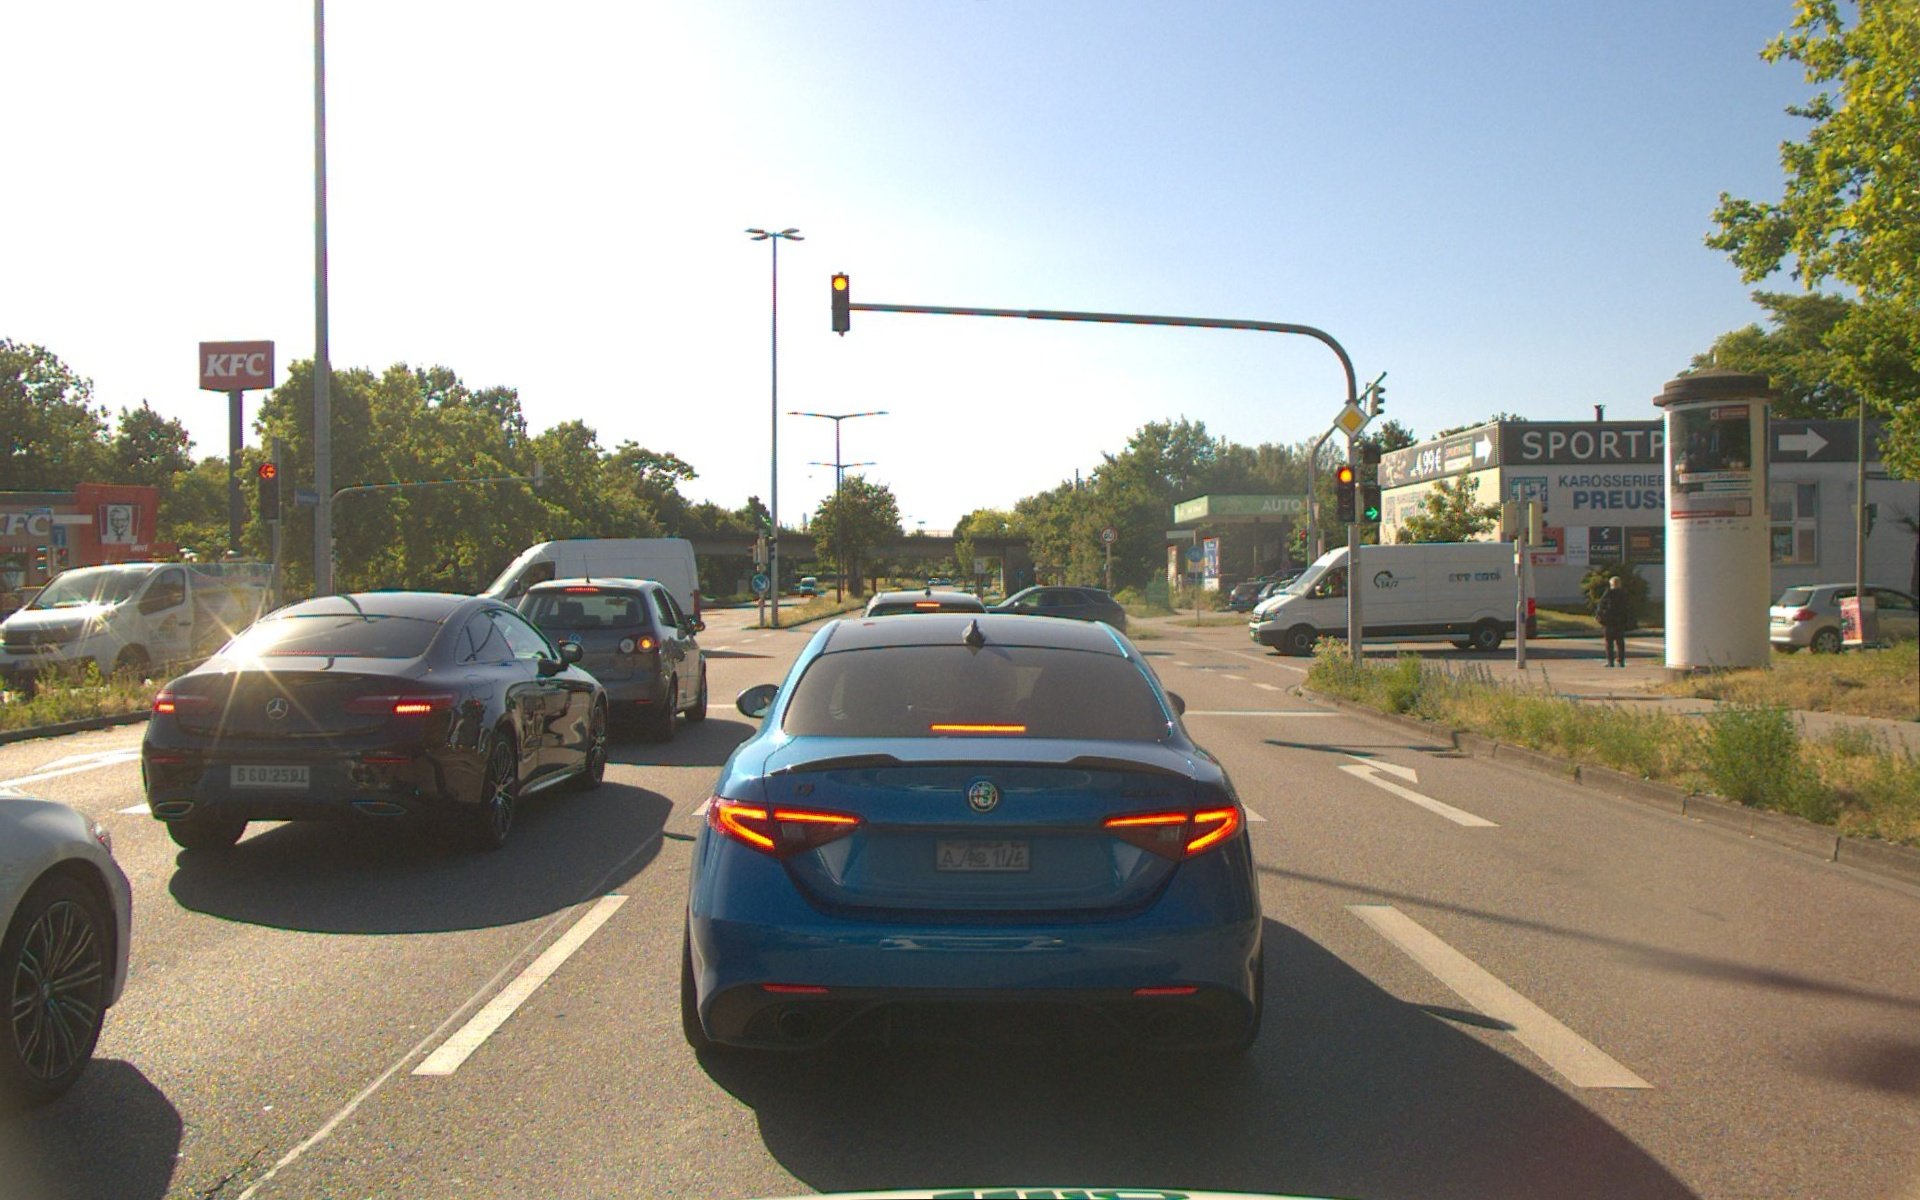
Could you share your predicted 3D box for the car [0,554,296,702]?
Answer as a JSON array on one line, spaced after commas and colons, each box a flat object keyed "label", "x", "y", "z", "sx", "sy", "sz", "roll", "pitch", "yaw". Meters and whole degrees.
[{"label": "car", "x": -12.576, "y": 0.365, "z": 25.513, "sx": 1.951, "sy": 2.049, "sz": 5.031, "roll": 0, "pitch": 0, "yaw": 10}]

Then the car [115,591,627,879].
[{"label": "car", "x": -3.418, "y": 0.666, "z": 10.580, "sx": 1.732, "sy": 1.439, "sz": 4.460, "roll": 0, "pitch": 0, "yaw": -1}]

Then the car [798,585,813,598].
[{"label": "car", "x": -20.309, "y": -1.075, "z": 217.324, "sx": 1.786, "sy": 1.723, "sz": 3.834, "roll": 0, "pitch": 0, "yaw": -3}]

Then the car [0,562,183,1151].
[{"label": "car", "x": -3.353, "y": 0.680, "z": 3.107, "sx": 1.732, "sy": 1.535, "sz": 4.460, "roll": 0, "pitch": 0, "yaw": -1}]

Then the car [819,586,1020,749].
[{"label": "car", "x": -0.396, "y": 0.605, "z": 17.065, "sx": 1.828, "sy": 1.475, "sz": 3.931, "roll": 0, "pitch": 0, "yaw": -1}]

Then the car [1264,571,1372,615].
[{"label": "car", "x": 14.342, "y": -0.283, "z": 66.333, "sx": 3.923, "sy": 1.736, "sz": 1.687, "roll": 0, "pitch": 0, "yaw": -17}]

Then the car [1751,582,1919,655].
[{"label": "car", "x": 19.314, "y": 0.384, "z": 35.435, "sx": 3.897, "sy": 1.503, "sz": 1.740, "roll": 0, "pitch": 0, "yaw": -1}]

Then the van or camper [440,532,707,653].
[{"label": "van or camper", "x": -9.105, "y": -0.185, "z": 39.166, "sx": 5.872, "sy": 2.697, "sz": 1.981, "roll": 0, "pitch": 0, "yaw": -29}]

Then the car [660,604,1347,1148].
[{"label": "car", "x": 0.093, "y": 0.745, "z": 6.388, "sx": 1.828, "sy": 1.409, "sz": 3.931, "roll": 0, "pitch": 0, "yaw": -1}]

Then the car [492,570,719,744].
[{"label": "car", "x": -3.617, "y": 0.520, "z": 17.526, "sx": 1.615, "sy": 1.626, "sz": 3.931, "roll": 0, "pitch": 0, "yaw": -1}]

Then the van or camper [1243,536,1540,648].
[{"label": "van or camper", "x": 10.277, "y": -0.198, "z": 39.736, "sx": 6.595, "sy": 2.617, "sz": 2.184, "roll": 0, "pitch": 0, "yaw": -2}]

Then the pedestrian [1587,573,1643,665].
[{"label": "pedestrian", "x": 12.659, "y": 0.354, "z": 31.985, "sx": 0.805, "sy": 1.752, "sz": 0.854, "roll": 0, "pitch": 0, "yaw": 6}]

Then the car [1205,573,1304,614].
[{"label": "car", "x": 12.670, "y": -0.273, "z": 71.163, "sx": 3.928, "sy": 1.736, "sz": 1.686, "roll": 0, "pitch": 0, "yaw": -20}]

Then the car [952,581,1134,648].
[{"label": "car", "x": 2.057, "y": 0.349, "z": 42.154, "sx": 4.506, "sy": 1.682, "sz": 1.999, "roll": 0, "pitch": 0, "yaw": -2}]

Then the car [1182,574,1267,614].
[{"label": "car", "x": 11.875, "y": -0.268, "z": 74.341, "sx": 3.428, "sy": 1.736, "sz": 1.688, "roll": 0, "pitch": 0, "yaw": -16}]
